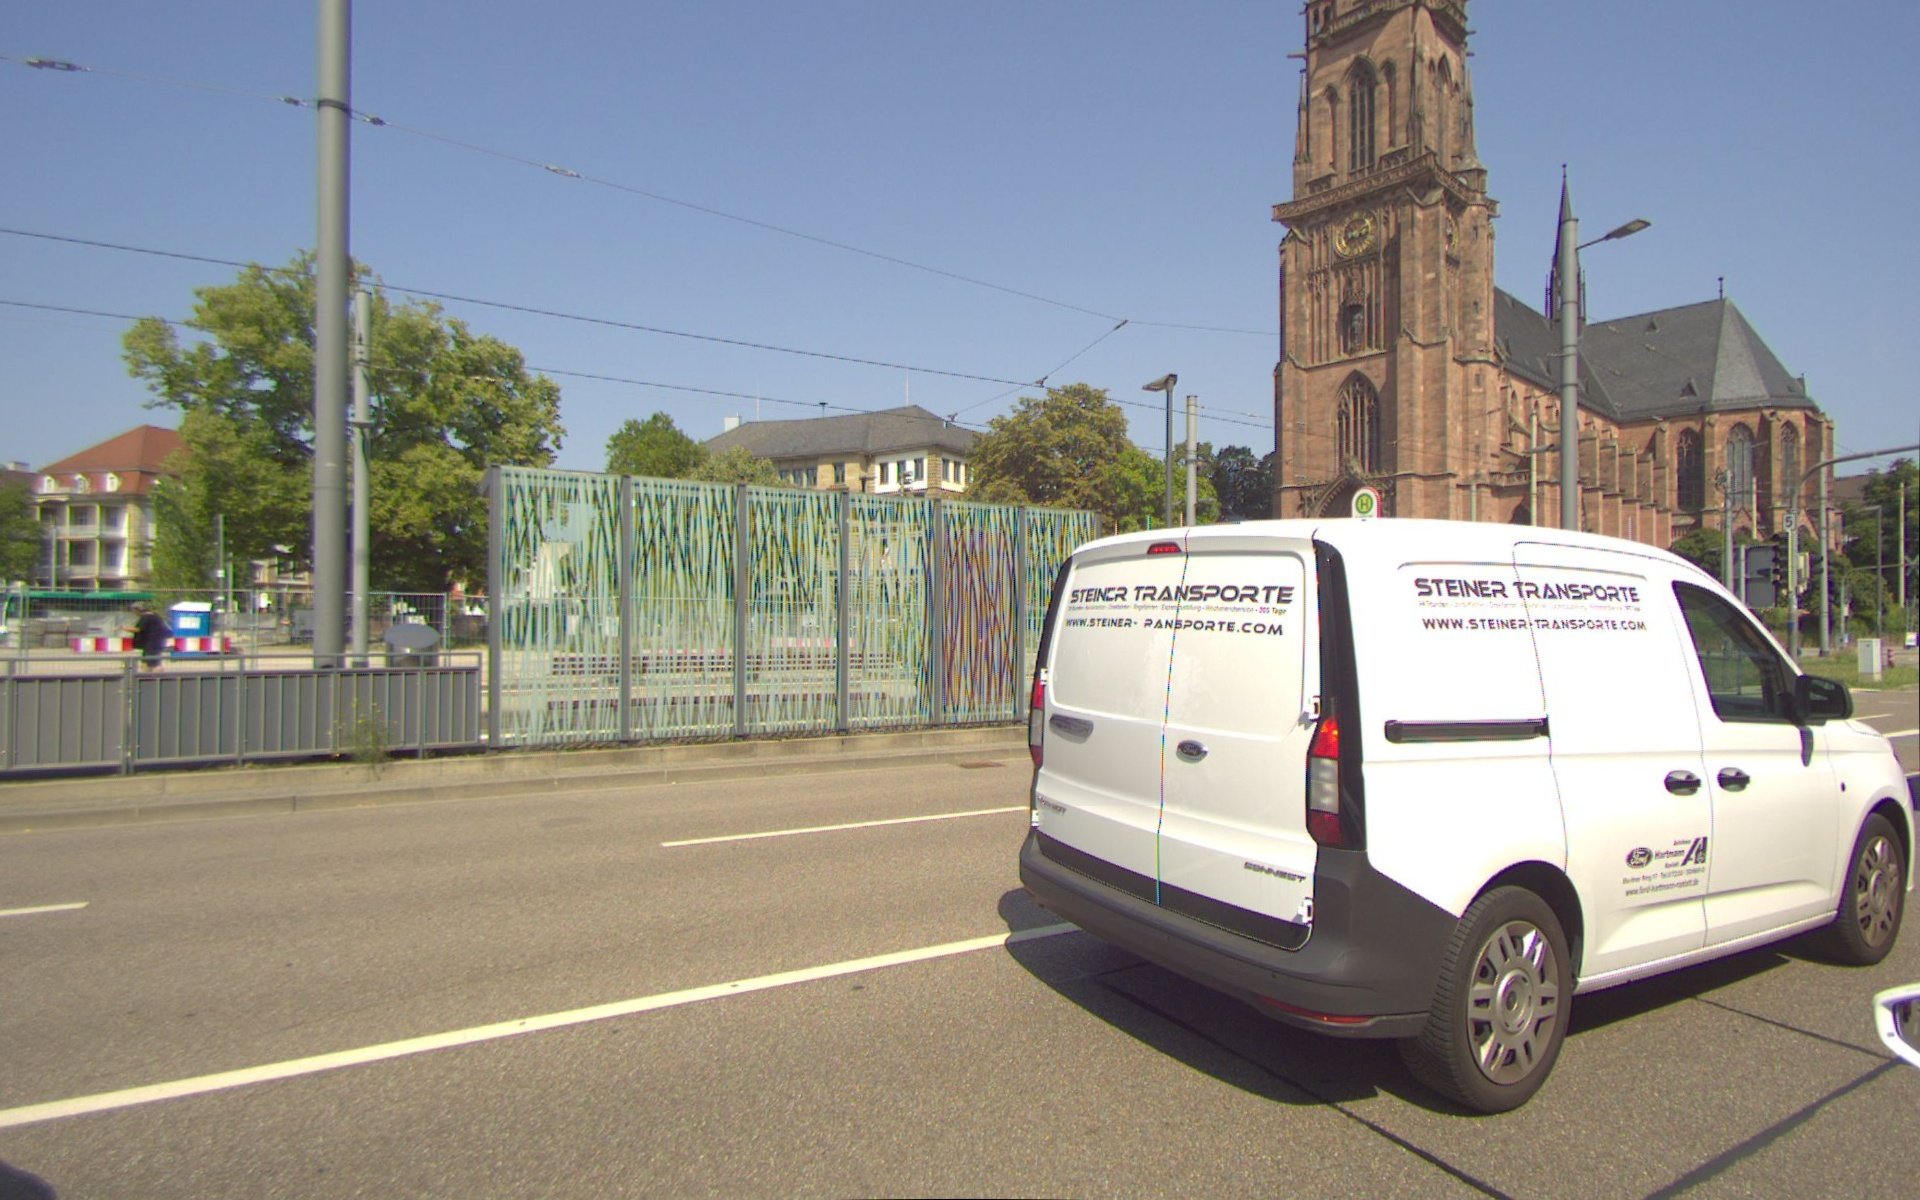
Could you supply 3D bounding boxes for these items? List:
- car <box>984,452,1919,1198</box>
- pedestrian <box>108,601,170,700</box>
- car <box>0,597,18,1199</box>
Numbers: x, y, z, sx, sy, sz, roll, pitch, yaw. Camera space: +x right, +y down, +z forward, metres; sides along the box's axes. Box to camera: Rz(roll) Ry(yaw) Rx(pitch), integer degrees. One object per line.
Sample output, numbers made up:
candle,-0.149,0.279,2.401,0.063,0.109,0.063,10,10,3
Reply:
car,2.336,0.599,4.319,4.190,1.844,1.739,1,-1,-31
pedestrian,-15.382,0.931,18.831,0.752,1.811,0.740,1,-1,-30
car,-3.356,0.673,0.599,3.758,1.432,1.679,1,0,-31
